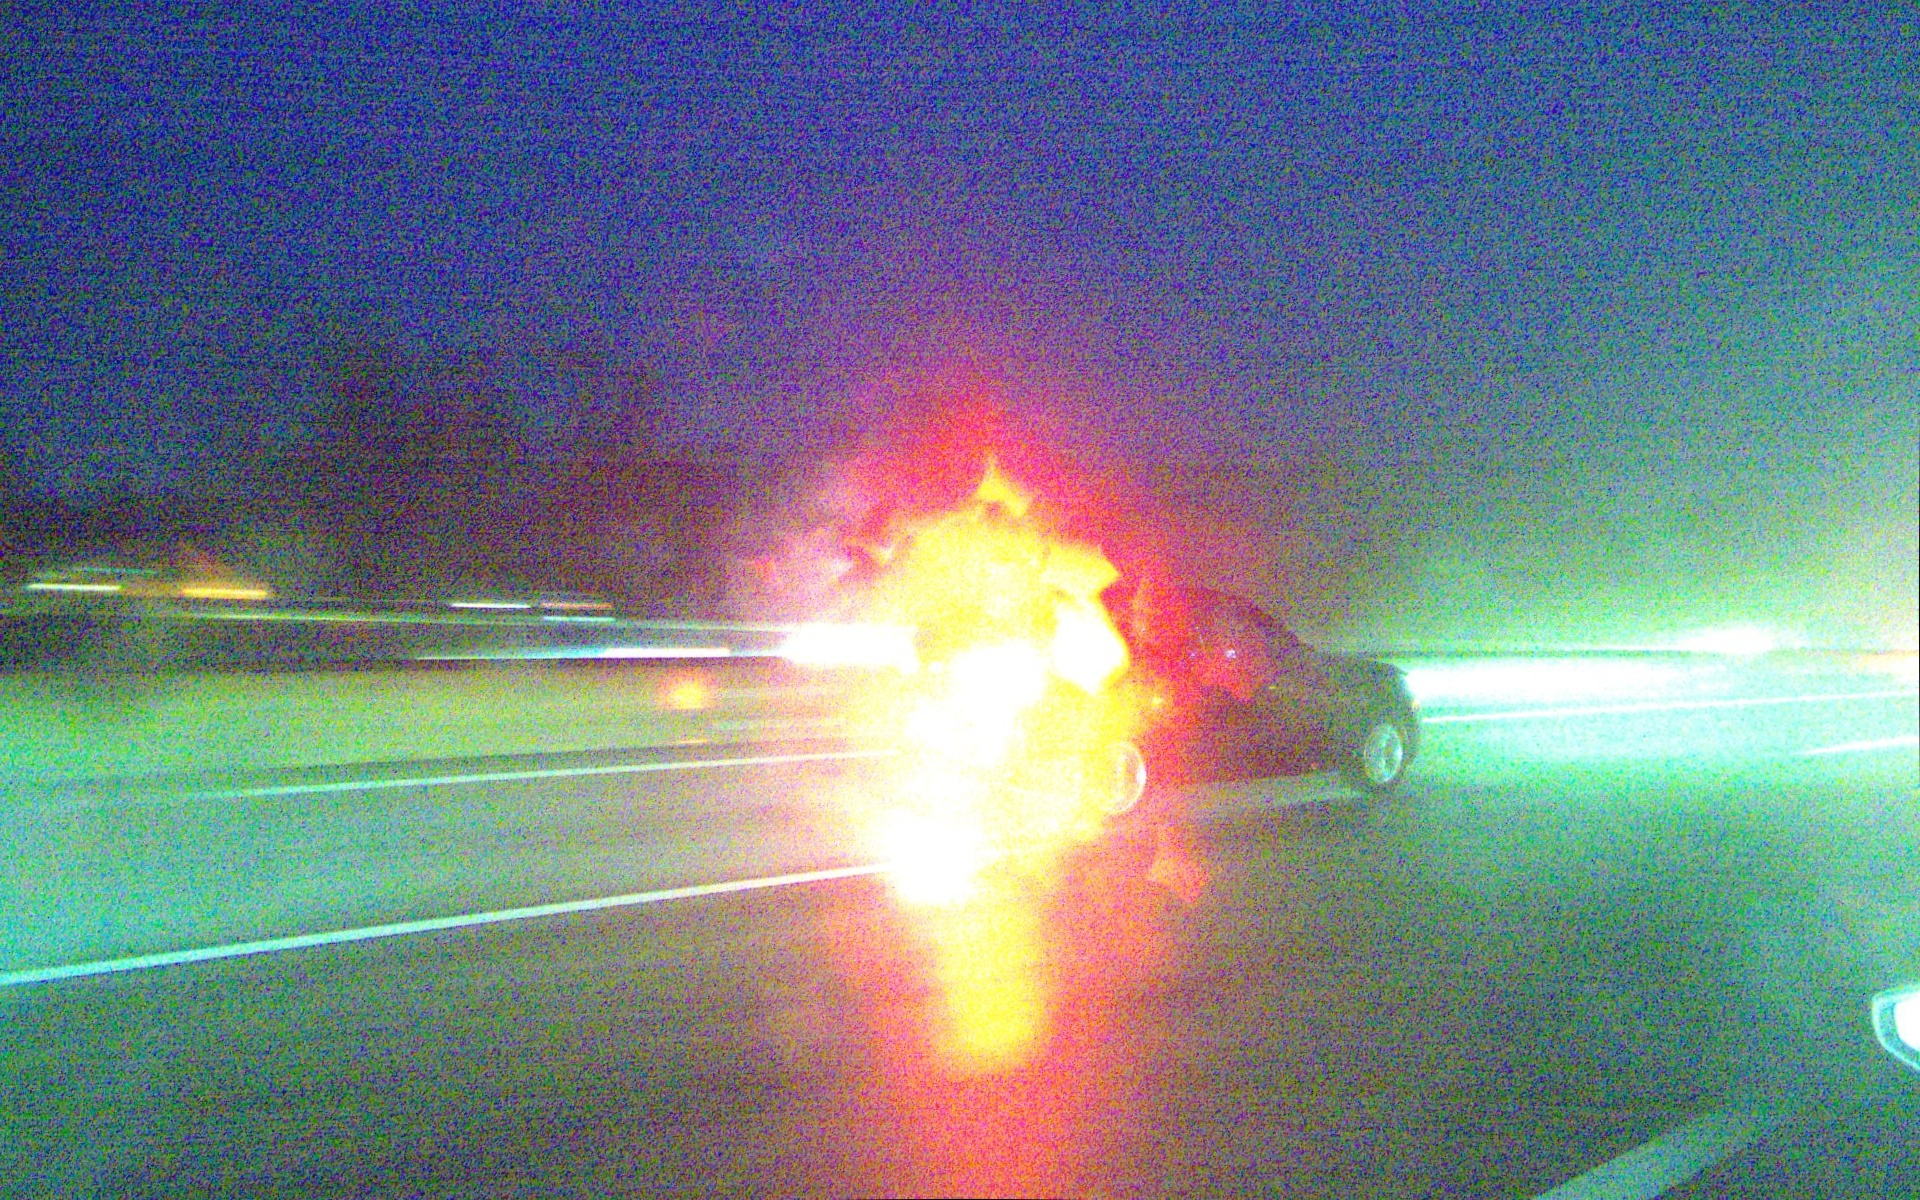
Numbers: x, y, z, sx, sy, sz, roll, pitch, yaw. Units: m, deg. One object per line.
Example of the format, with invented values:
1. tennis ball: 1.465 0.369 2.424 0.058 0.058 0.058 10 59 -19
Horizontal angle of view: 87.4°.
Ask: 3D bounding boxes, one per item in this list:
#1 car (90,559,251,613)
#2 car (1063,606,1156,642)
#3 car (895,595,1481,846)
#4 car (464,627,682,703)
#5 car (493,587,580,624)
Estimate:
1. car: -31.104 -0.519 39.757 4.621 1.959 1.988 1 0 -25
2. car: 7.902 1.277 53.086 4.506 1.795 1.988 1 0 -24
3. car: 1.977 0.798 8.238 4.694 1.561 1.849 1 -1 -30
4. car: -8.500 1.461 22.168 4.242 1.546 1.831 3 -4 -30
5. car: -17.404 0.242 41.421 3.194 1.424 1.766 1 0 -22
